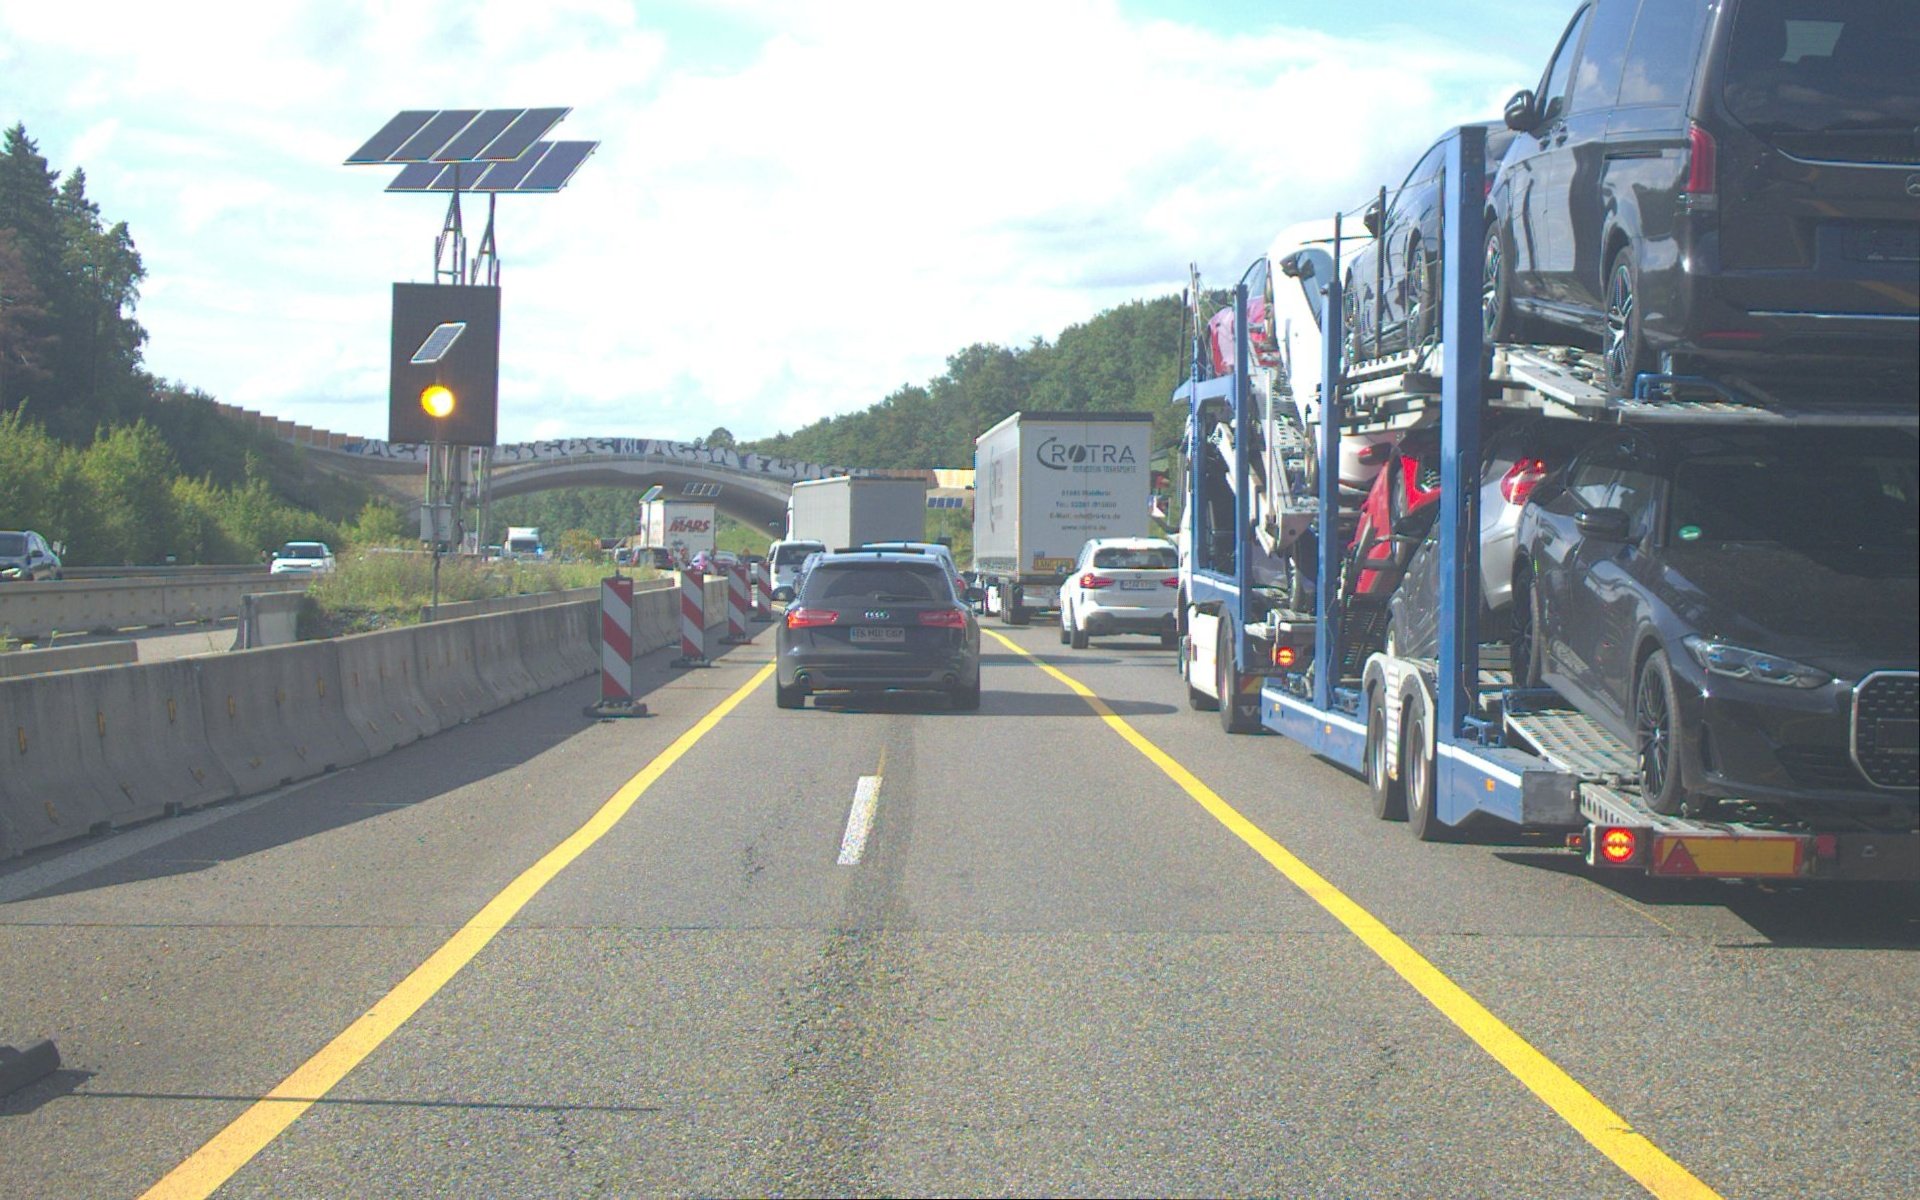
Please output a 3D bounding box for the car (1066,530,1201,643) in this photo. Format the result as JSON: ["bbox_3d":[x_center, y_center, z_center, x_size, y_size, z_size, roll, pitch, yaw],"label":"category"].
[{"bbox_3d":[2.603,-0.222,52.492,1.890,1.638,4.018,1,1,1],"label":"car"}]

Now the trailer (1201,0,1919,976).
[{"bbox_3d":[4.027,-0.865,20.247,3.726,4.182,16.228,1,1,-1],"label":"trailer"}]

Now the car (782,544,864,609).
[{"bbox_3d":[-3.594,-0.628,89.601,1.890,1.638,4.018,1,1,-6],"label":"car"}]

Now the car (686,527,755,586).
[{"bbox_3d":[-8.444,-1.535,120.954,1.993,2.007,4.001,1,1,-10],"label":"car"}]

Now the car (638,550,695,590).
[{"bbox_3d":[-12.174,-1.249,142.445,1.777,1.597,4.019,1,1,-13],"label":"car"}]

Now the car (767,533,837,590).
[{"bbox_3d":[-4.783,-1.170,103.486,1.890,1.638,4.018,1,1,-5],"label":"car"}]

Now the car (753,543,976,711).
[{"bbox_3d":[-0.824,0.208,32.074,1.890,1.441,4.000,1,1,1],"label":"car"}]

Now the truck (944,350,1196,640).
[{"bbox_3d":[2.012,-2.063,72.094,3.677,5.335,16.204,1,1,-4],"label":"truck"}]

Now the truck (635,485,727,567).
[{"bbox_3d":[-14.111,-3.688,172.857,3.653,3.915,11.070,1,1,-9],"label":"truck"}]

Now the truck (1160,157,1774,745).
[{"bbox_3d":[3.889,-1.123,28.752,3.761,4.182,7.951,1,1,-1],"label":"truck"}]

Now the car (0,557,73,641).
[{"bbox_3d":[-19.202,-0.052,68.415,1.958,1.583,4.483,1,1,-1],"label":"car"}]

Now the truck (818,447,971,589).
[{"bbox_3d":[-2.357,-2.749,117.733,4.318,4.584,11.127,1,1,-5],"label":"truck"}]

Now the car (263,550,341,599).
[{"bbox_3d":[-21.986,-0.867,114.936,1.778,1.597,4.018,1,1,1],"label":"car"}]

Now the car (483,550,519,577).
[{"bbox_3d":[-27.739,-2.216,207.857,1.778,1.597,4.018,1,1,-2],"label":"car"}]
